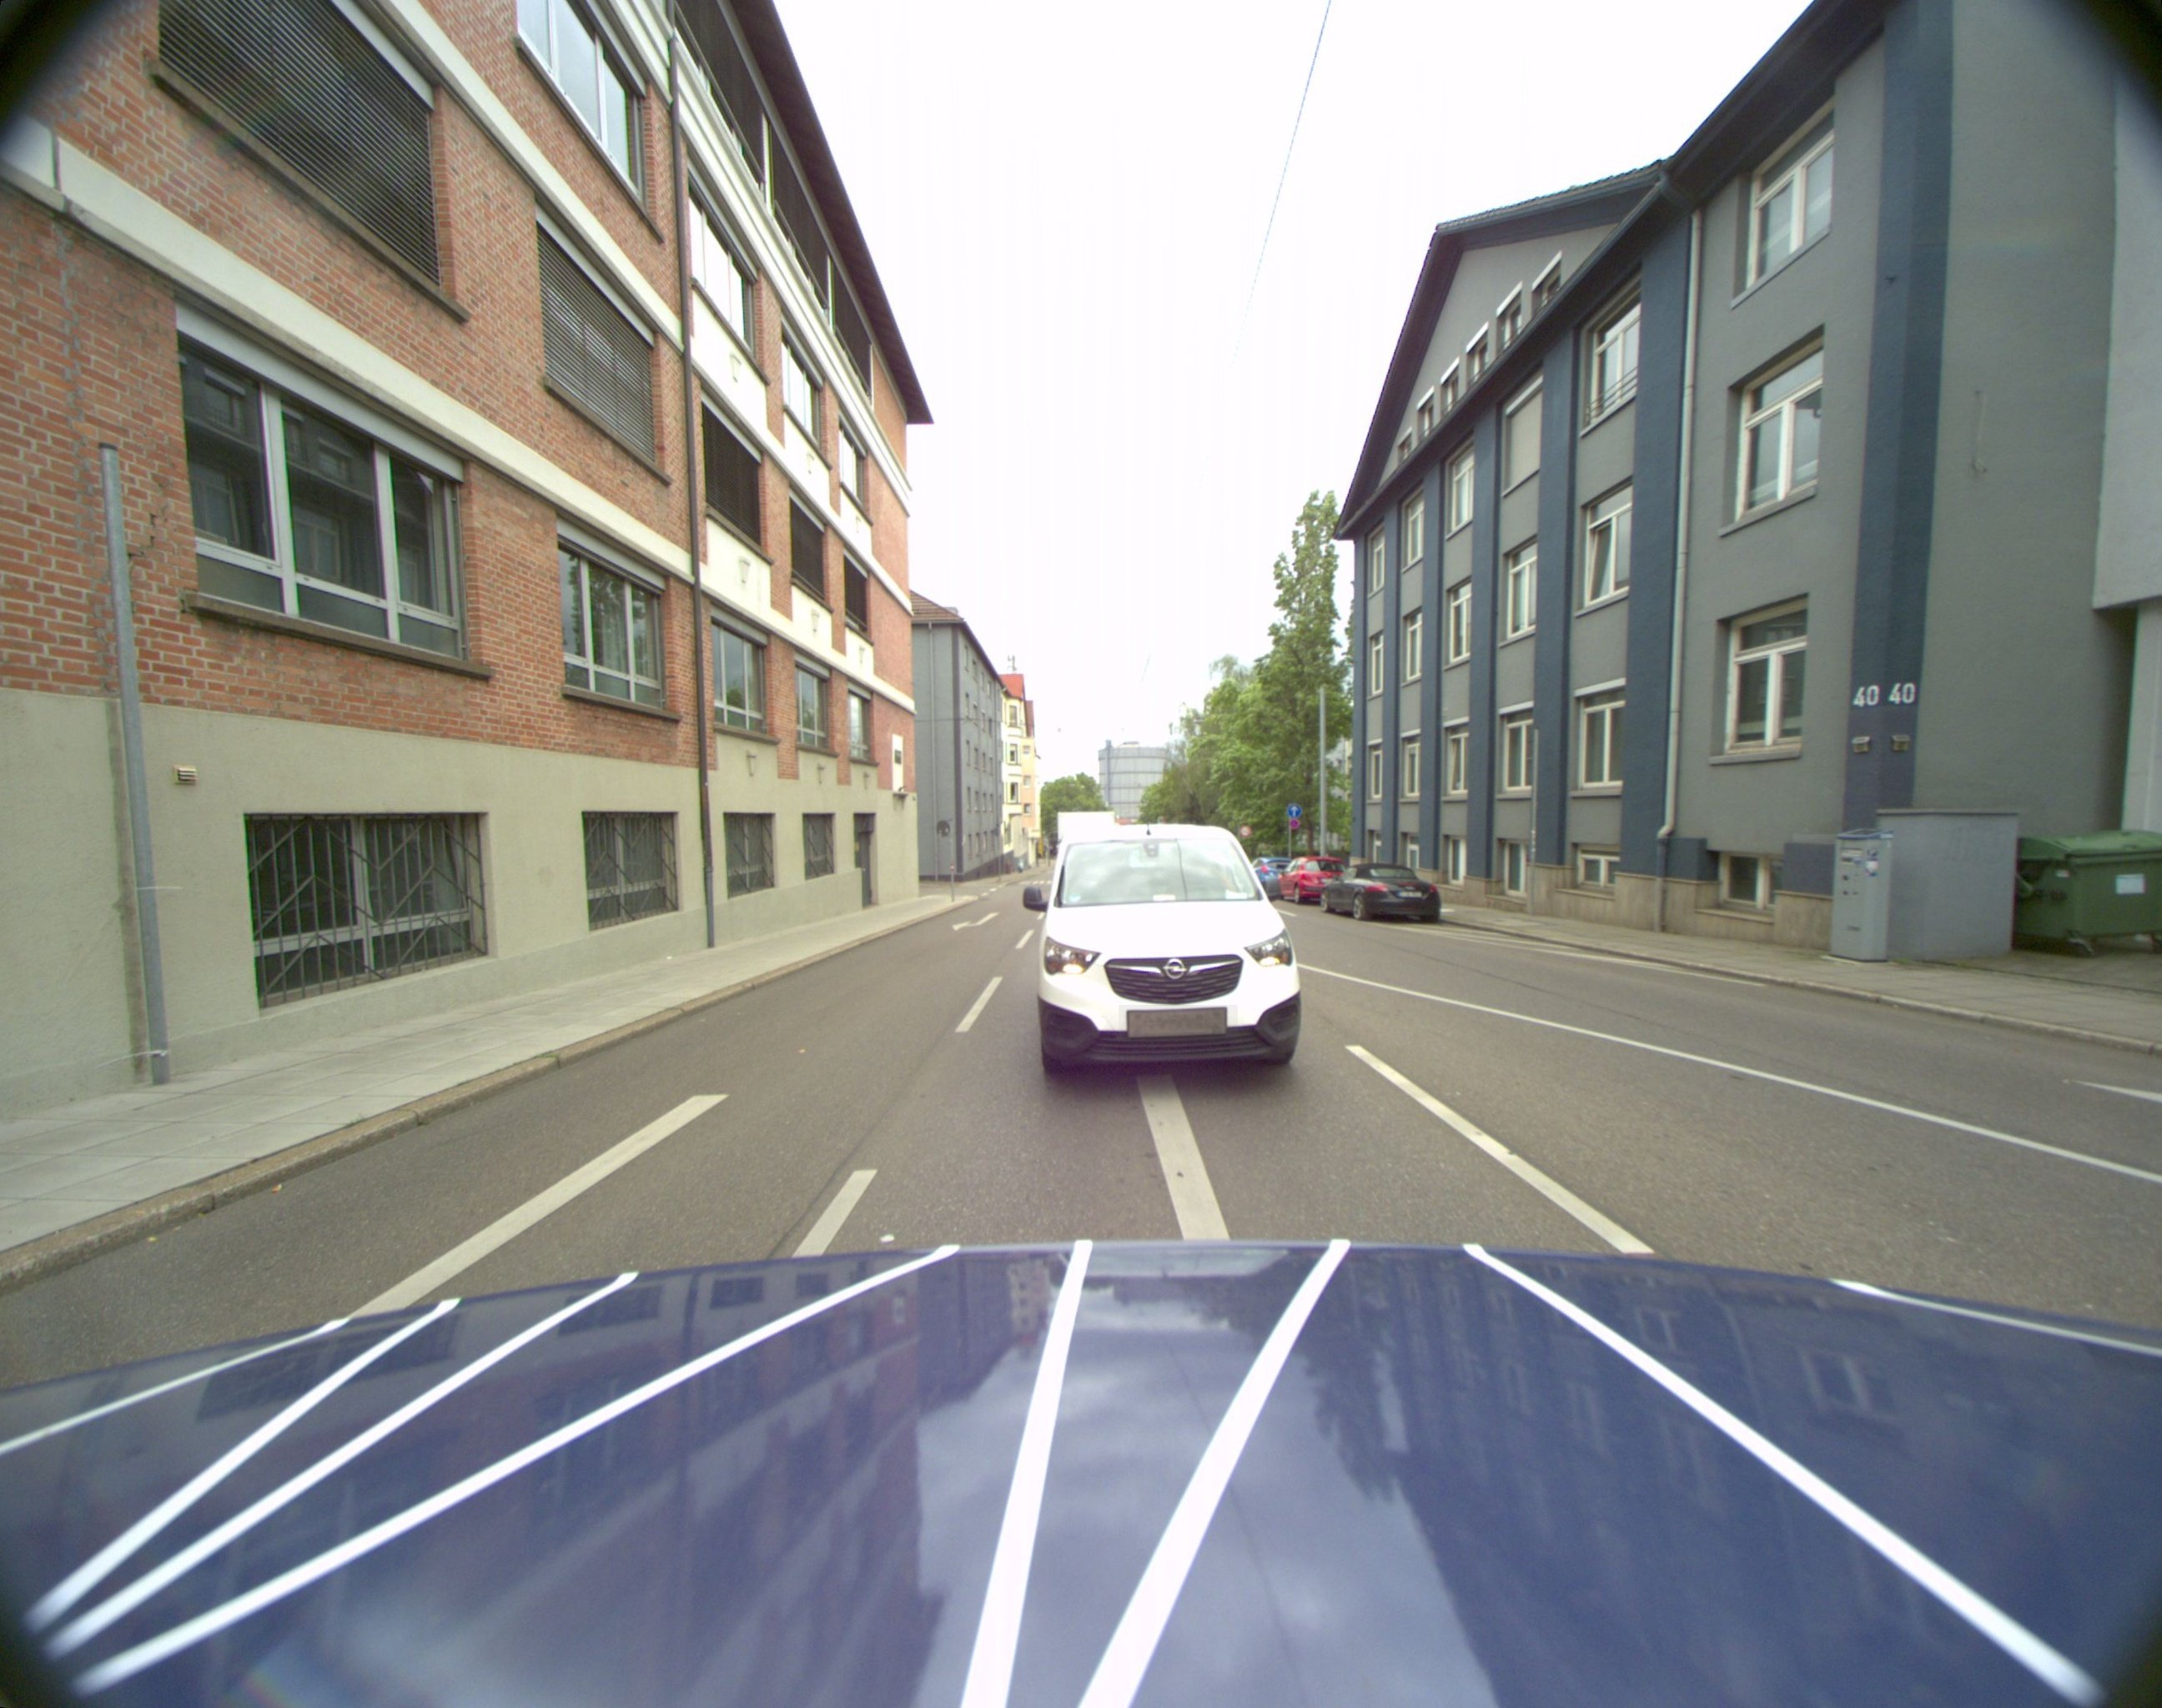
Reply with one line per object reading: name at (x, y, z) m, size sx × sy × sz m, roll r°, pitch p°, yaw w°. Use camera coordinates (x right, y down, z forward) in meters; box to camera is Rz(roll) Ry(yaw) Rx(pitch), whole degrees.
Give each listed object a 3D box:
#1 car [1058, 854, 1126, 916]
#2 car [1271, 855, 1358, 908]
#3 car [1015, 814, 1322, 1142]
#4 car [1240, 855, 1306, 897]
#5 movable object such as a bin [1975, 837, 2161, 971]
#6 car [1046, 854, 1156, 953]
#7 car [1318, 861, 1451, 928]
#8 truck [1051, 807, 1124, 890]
car at (0.315, 0.817, 21.886) m, size 1.739 × 1.519 × 3.999 m, roll -2°, pitch 1°, yaw 1°
car at (7.373, 0.822, 24.345) m, size 1.644 × 1.441 × 3.729 m, roll -2°, pitch 1°, yaw 1°
car at (0.547, 0.711, 6.473) m, size 1.739 × 1.875 × 3.999 m, roll -2°, pitch 1°, yaw 1°
car at (7.478, 0.807, 29.918) m, size 1.644 × 1.441 × 3.729 m, roll -2°, pitch 1°, yaw 1°
movable object such as a bin at (12.067, 0.567, 9.207) m, size 1.229 × 1.498 × 1.040 m, roll -2°, pitch 1°, yaw 1°
car at (0.353, 0.808, 14.393) m, size 1.739 × 1.519 × 3.999 m, roll -2°, pitch 1°, yaw 1°
car at (7.246, 0.898, 18.544) m, size 1.801 × 1.384 × 3.729 m, roll 0°, pitch 1°, yaw 1°
truck at (0.351, -0.290, 36.609) m, size 2.969 × 3.409 × 8.879 m, roll -2°, pitch 1°, yaw 1°
